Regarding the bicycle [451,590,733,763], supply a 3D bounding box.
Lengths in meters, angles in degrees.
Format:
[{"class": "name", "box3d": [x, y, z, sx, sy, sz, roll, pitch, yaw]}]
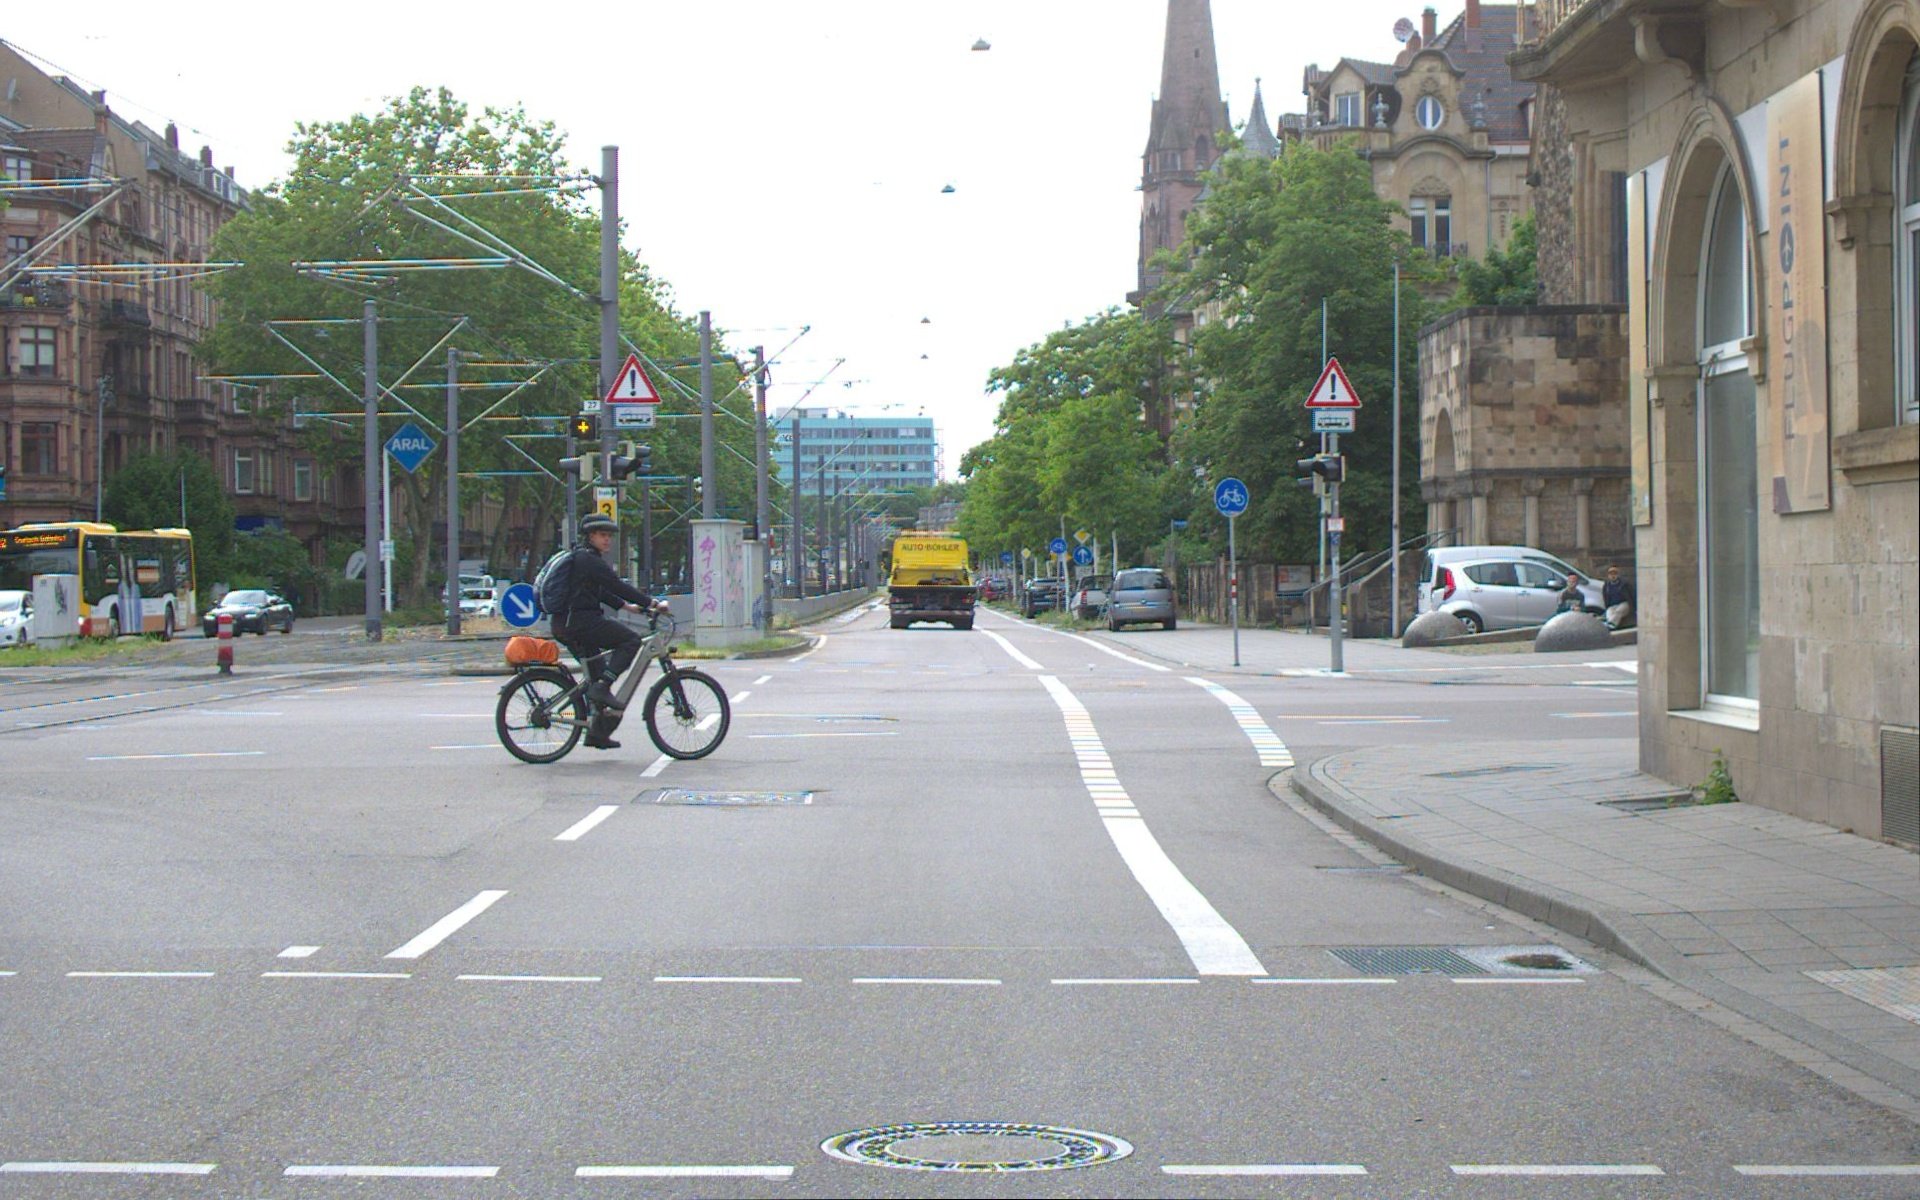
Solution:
[{"class": "bicycle", "box3d": [-2.804, 0.572, 26.234, 1.991, 1.268, 0.751, 1, 0, -30]}]

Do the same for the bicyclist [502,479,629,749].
[{"class": "bicyclist", "box3d": [-2.997, 0.101, 26.107, 0.692, 2.007, 0.783, 1, 0, -29]}]

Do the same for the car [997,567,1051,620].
[{"class": "car", "box3d": [2.532, -0.273, 135.983, 1.993, 2.007, 4.000, 1, 1, -1]}]

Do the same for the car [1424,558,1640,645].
[{"class": "car", "box3d": [10.762, 0.019, 64.876, 3.713, 1.558, 2.000, 1, 0, 0]}]

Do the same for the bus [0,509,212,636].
[{"class": "bus", "box3d": [-22.481, -0.731, 89.087, 3.231, 3.025, 12.311, 1, 1, 1]}]

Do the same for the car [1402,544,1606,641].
[{"class": "car", "box3d": [10.790, -0.159, 68.399, 3.713, 1.849, 2.000, 1, 0, 0]}]

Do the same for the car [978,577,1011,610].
[{"class": "car", "box3d": [2.184, -0.398, 216.830, 1.993, 2.007, 4.000, 1, 1, -1]}]

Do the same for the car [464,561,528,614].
[{"class": "car", "box3d": [-18.045, -0.507, 133.796, 1.993, 2.007, 4.000, 1, 1, -1]}]

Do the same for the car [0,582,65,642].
[{"class": "car", "box3d": [-21.913, 0.258, 79.037, 1.656, 1.316, 3.638, 1, 1, 1]}]

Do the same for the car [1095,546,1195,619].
[{"class": "car", "box3d": [4.864, -0.470, 89.978, 1.994, 1.849, 4.024, 1, 1, 12]}]

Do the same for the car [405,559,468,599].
[{"class": "car", "box3d": [-21.544, -0.878, 141.513, 1.993, 1.605, 4.000, 1, 1, -1]}]

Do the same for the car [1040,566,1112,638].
[{"class": "car", "box3d": [3.338, 0.034, 99.582, 1.993, 2.007, 4.000, 1, 1, 1]}]

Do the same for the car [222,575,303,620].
[{"class": "car", "box3d": [-21.450, -0.087, 105.825, 1.656, 1.316, 3.638, 1, 1, 1]}]

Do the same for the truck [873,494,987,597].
[{"class": "truck", "box3d": [-0.877, -1.536, 98.118, 3.055, 2.760, 9.816, 0, 1, -1]}]
